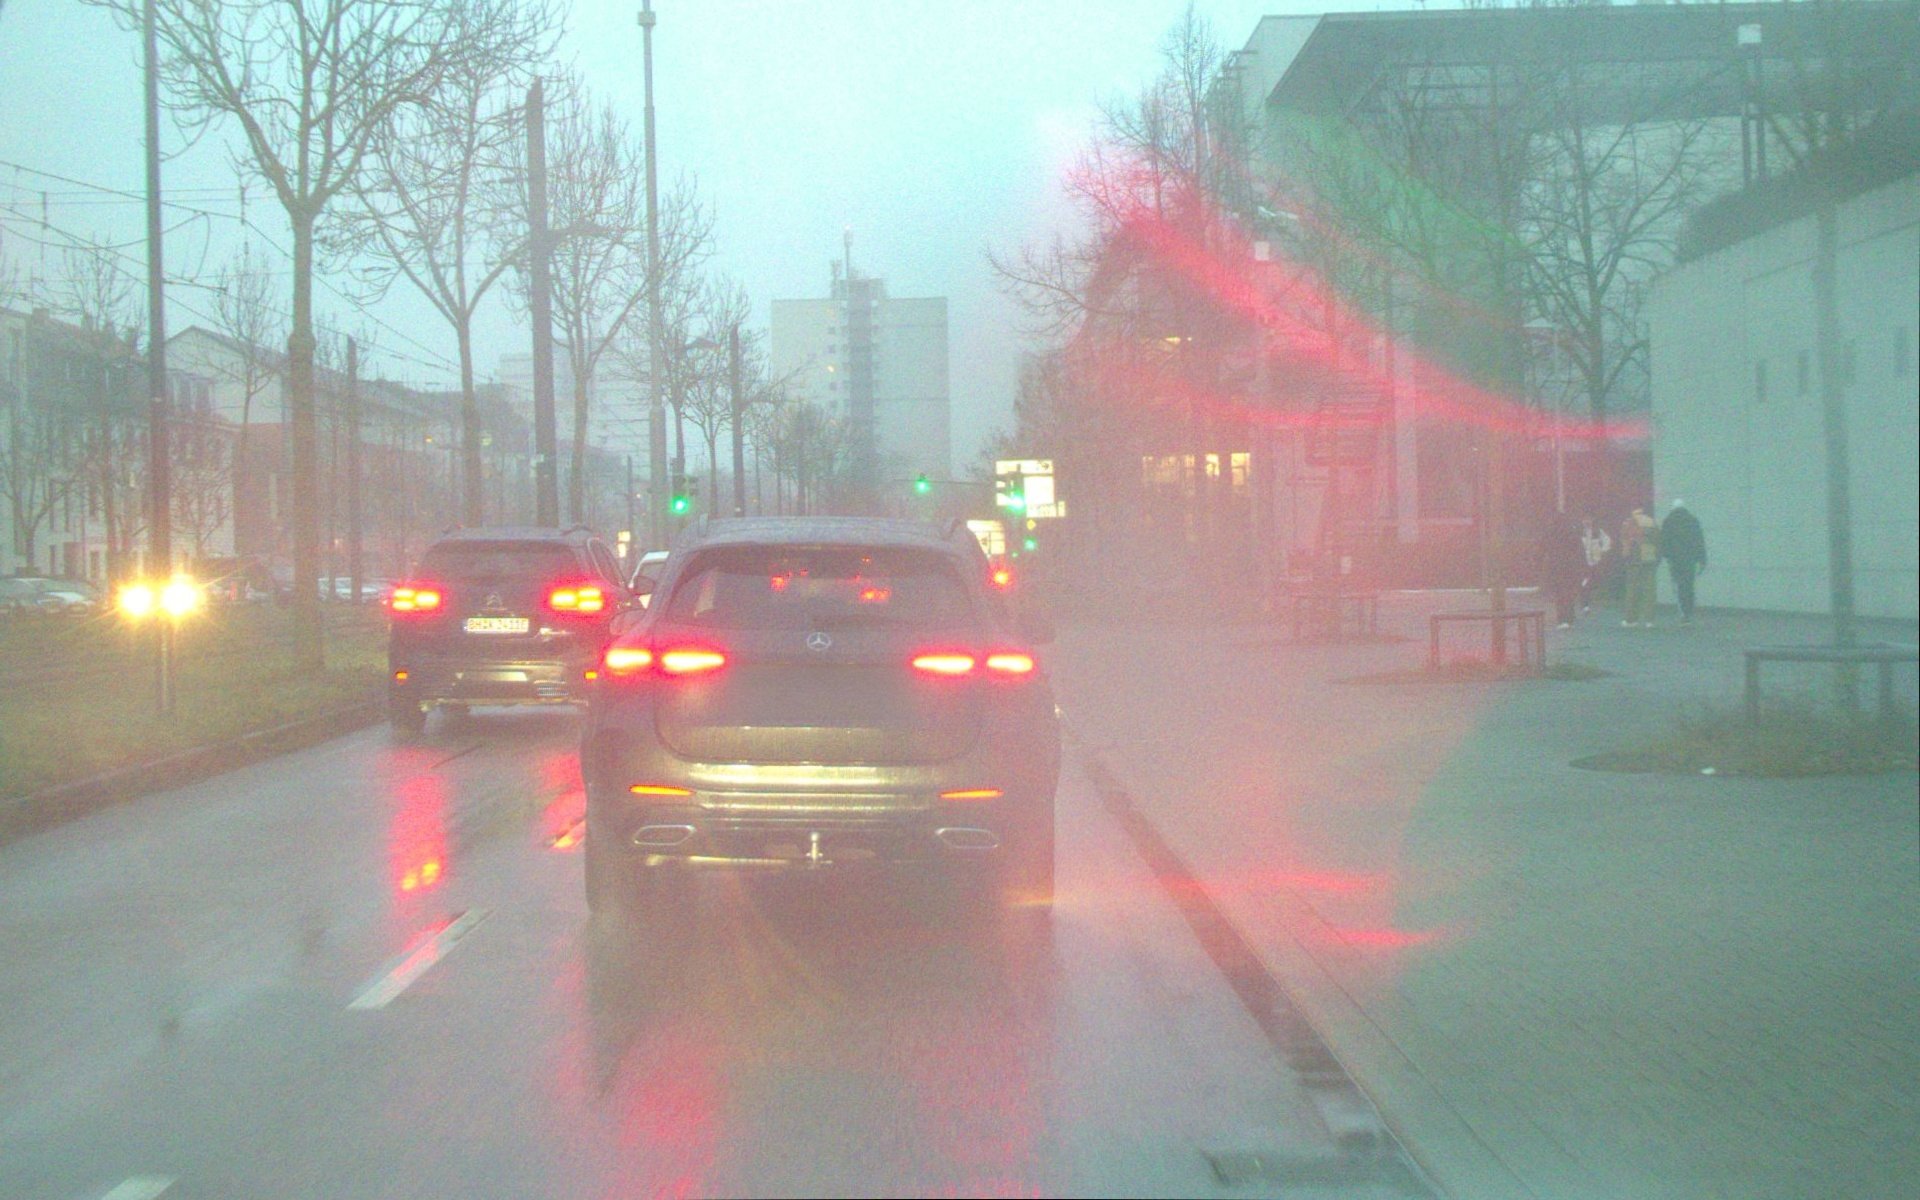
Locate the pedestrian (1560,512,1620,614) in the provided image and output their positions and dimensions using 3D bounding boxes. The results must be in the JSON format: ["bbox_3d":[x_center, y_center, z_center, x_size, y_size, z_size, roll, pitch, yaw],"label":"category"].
[{"bbox_3d":[10.375,-0.609,56.638,0.667,1.649,0.995,-2,0,-6],"label":"pedestrian"}]

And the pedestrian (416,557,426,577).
[{"bbox_3d":[-31.622,-1.932,201.689,0.345,1.180,0.434,0,0,-41],"label":"pedestrian"}]

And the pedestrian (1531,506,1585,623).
[{"bbox_3d":[8.360,-0.498,48.061,0.673,1.619,0.614,1,0,15],"label":"pedestrian"}]

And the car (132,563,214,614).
[{"bbox_3d":[-23.651,-0.358,103.415,1.545,1.499,3.783,1,1,0],"label":"car"}]

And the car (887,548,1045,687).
[{"bbox_3d":[0.042,0.188,42.425,1.854,1.630,3.474,1,1,-1],"label":"car"}]

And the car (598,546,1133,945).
[{"bbox_3d":[-0.380,0.537,14.757,1.993,1.478,3.700,1,0,-1],"label":"car"}]

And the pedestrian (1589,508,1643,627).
[{"bbox_3d":[8.943,-0.441,46.869,0.673,1.606,0.614,1,0,13],"label":"pedestrian"}]

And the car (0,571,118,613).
[{"bbox_3d":[-28.493,-0.248,108.298,3.839,1.241,1.734,2,1,35],"label":"car"}]

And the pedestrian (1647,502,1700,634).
[{"bbox_3d":[9.706,-0.439,46.752,0.673,1.772,0.614,1,0,13],"label":"pedestrian"}]

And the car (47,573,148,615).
[{"bbox_3d":[-28.835,-0.211,114.950,2.932,1.331,1.734,1,1,32],"label":"car"}]

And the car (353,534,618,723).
[{"bbox_3d":[-3.879,0.203,28.671,1.817,1.445,4.000,1,1,-2],"label":"car"}]

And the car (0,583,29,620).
[{"bbox_3d":[-28.903,0.032,101.608,2.389,1.045,1.434,1,2,32],"label":"car"}]

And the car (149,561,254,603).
[{"bbox_3d":[-29.546,-0.701,133.879,3.843,1.583,1.739,1,1,31],"label":"car"}]

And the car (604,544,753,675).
[{"bbox_3d":[-3.628,0.101,44.789,1.689,1.630,3.474,1,1,-1],"label":"car"}]
